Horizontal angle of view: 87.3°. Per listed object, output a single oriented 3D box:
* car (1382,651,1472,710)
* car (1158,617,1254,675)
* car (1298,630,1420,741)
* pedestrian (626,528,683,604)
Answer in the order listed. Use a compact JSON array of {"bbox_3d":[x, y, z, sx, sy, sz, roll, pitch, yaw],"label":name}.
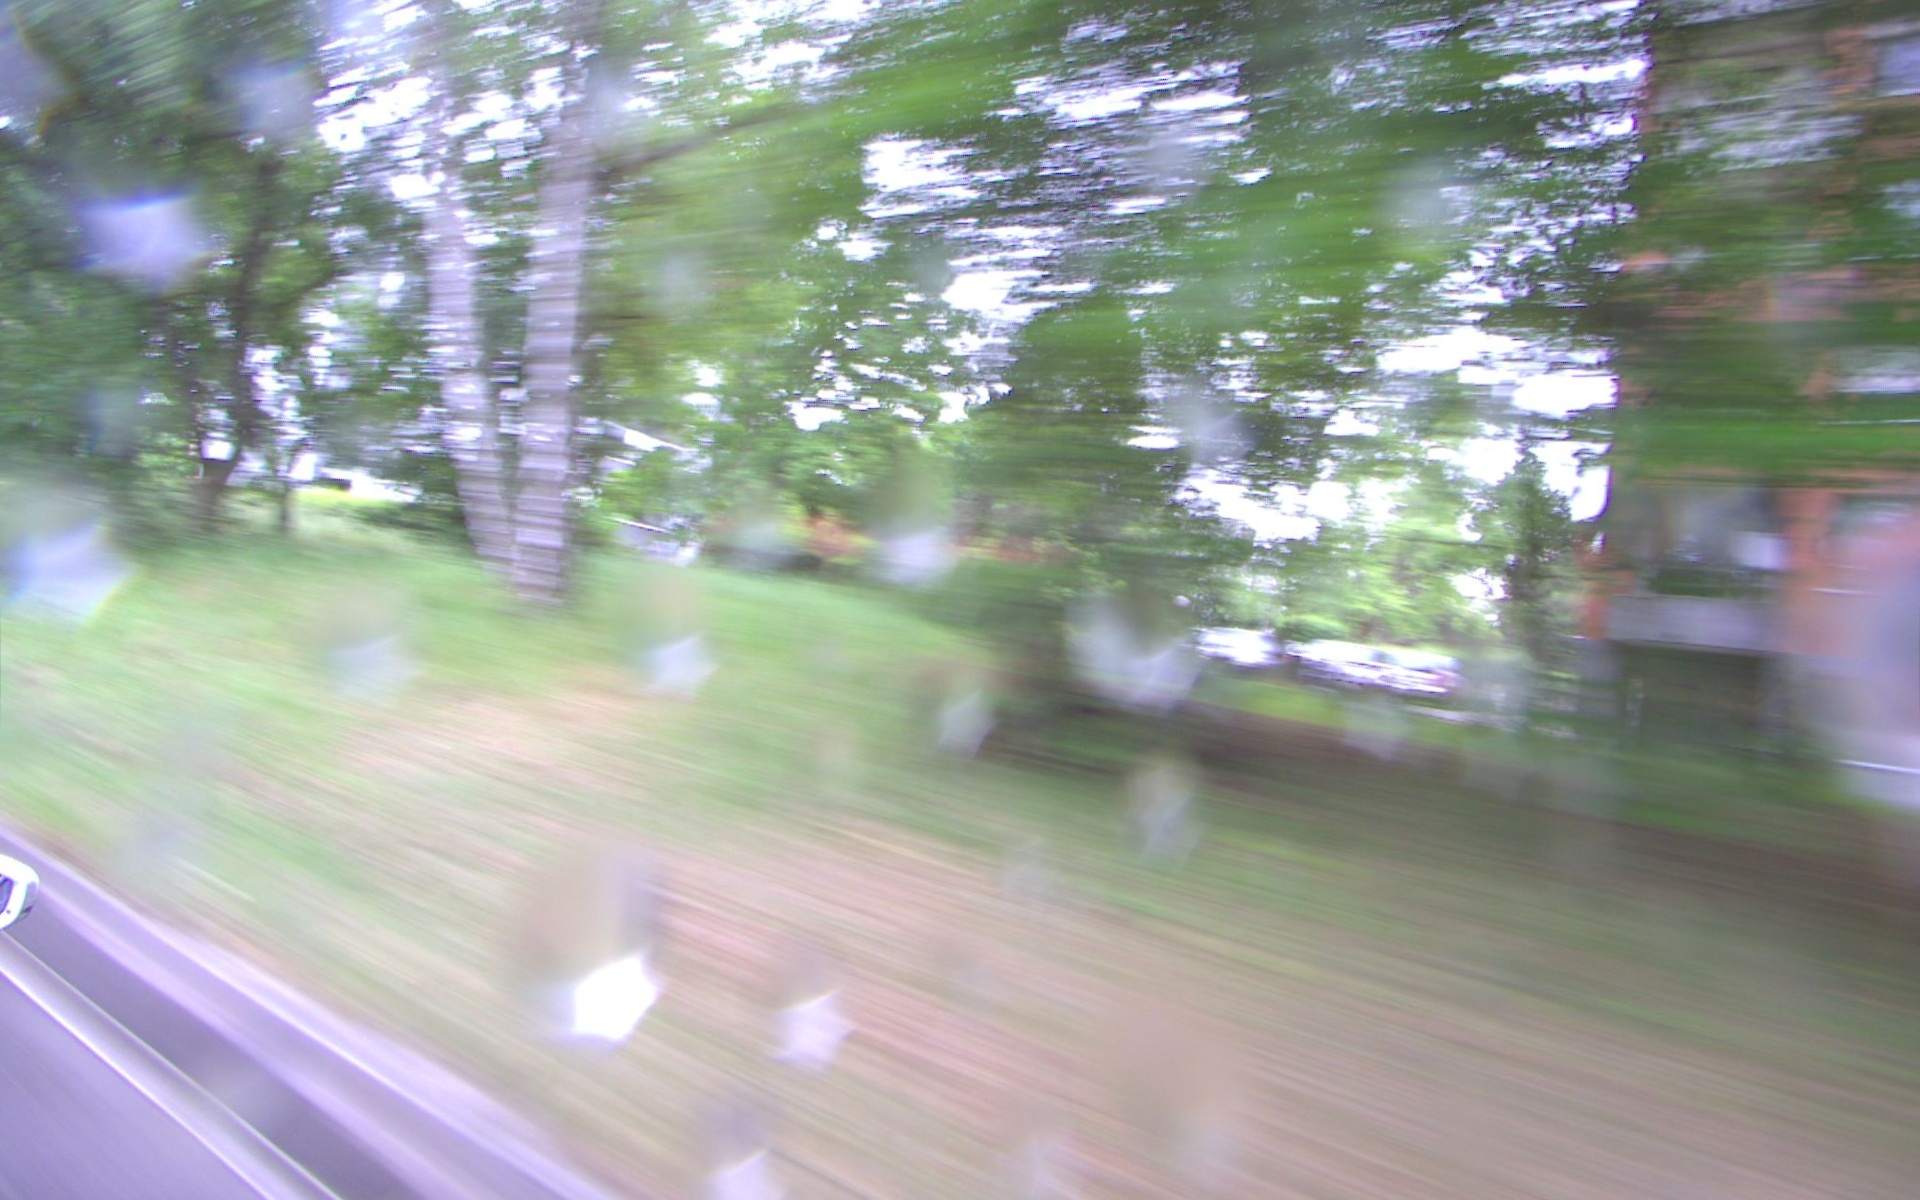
[{"bbox_3d":[14.406,2.493,30.916,1.723,1.409,3.991,8,-1,35],"label":"car"},{"bbox_3d":[8.541,1.624,34.765,1.817,1.545,3.992,8,-1,34],"label":"car"},{"bbox_3d":[8.869,1.922,22.209,1.593,2.037,3.735,8,-1,33],"label":"car"},{"bbox_3d":[-5.645,-0.627,18.577,0.615,1.300,0.654,7,1,36],"label":"pedestrian"}]
